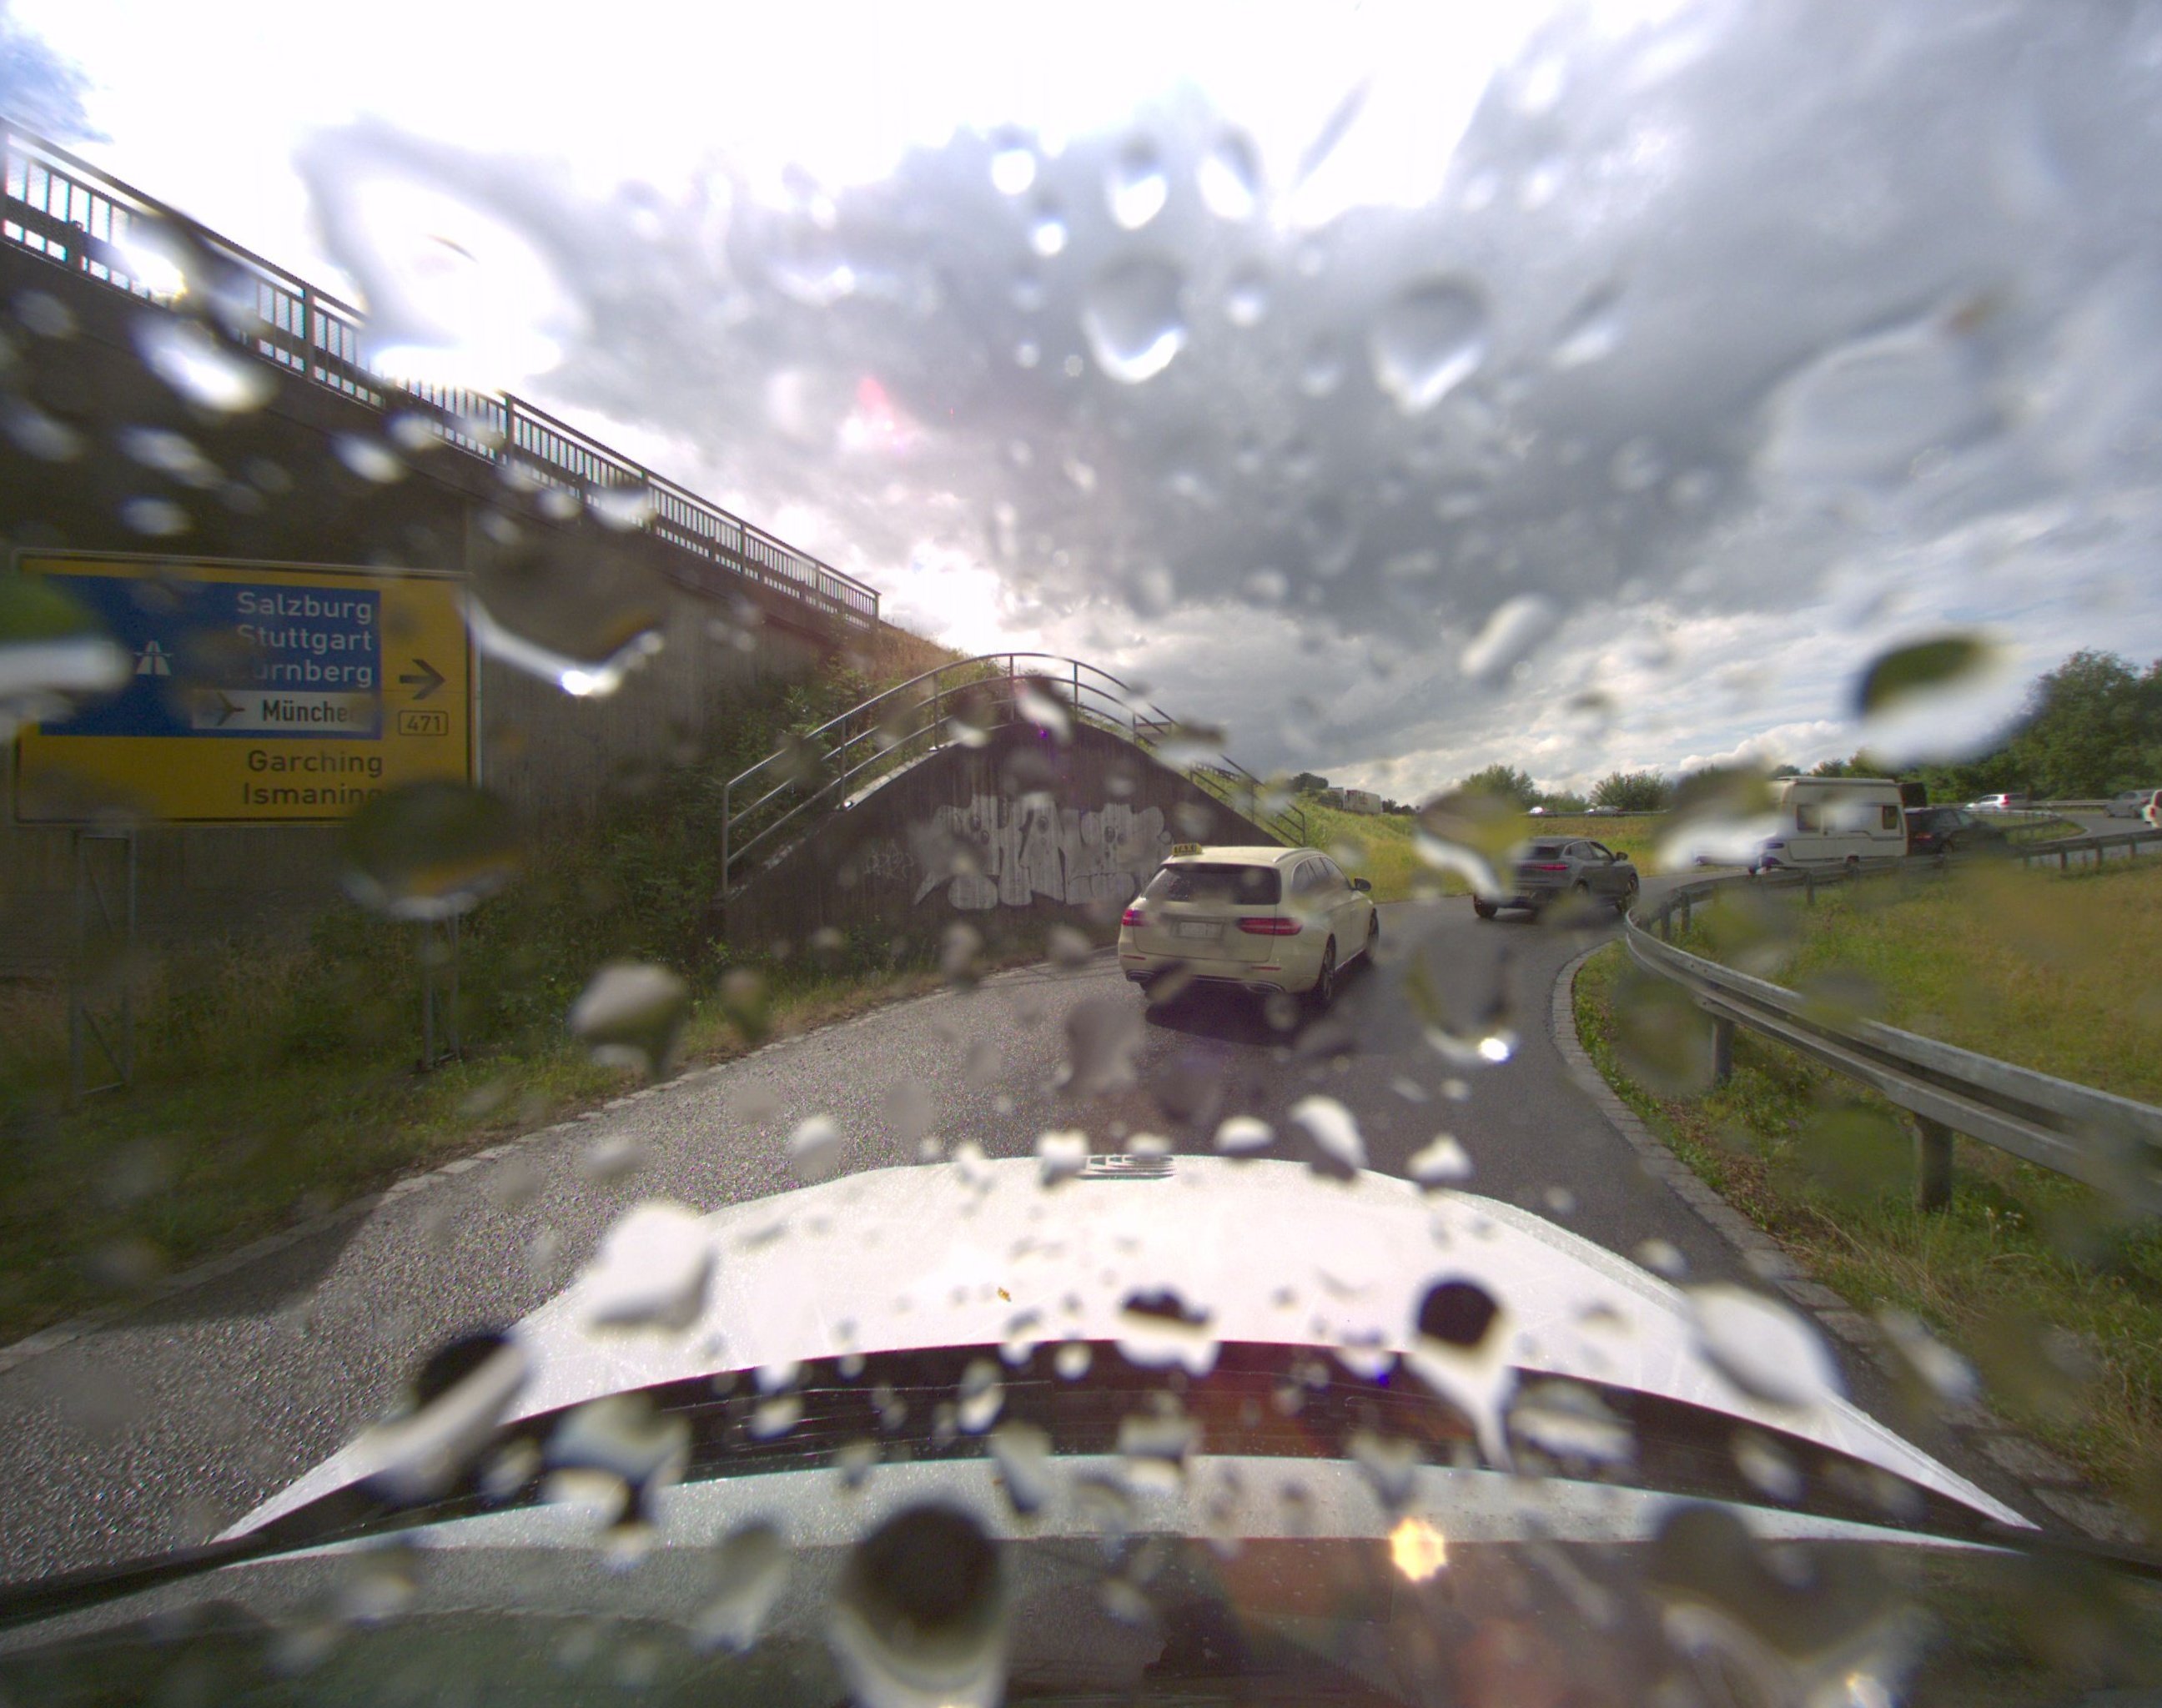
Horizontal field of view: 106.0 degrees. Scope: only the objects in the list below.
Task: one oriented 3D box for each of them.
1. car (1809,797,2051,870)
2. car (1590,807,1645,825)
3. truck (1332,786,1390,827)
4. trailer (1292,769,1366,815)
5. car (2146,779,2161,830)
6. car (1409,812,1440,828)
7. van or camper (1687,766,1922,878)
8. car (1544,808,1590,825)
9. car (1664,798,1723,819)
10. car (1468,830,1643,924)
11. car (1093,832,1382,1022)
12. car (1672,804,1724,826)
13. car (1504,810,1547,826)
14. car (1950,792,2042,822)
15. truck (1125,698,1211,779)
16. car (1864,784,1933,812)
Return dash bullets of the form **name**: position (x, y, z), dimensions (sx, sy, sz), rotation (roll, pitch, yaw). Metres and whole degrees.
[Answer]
- **car**: position (24.834, -0.630, 23.884), dimensions (5.749, 1.925, 2.425), rotation (-1, 1, -14)
- **car**: position (62.613, -4.434, 95.205), dimensions (2.004, 1.861, 5.013), rotation (-1, 0, -26)
- **truck**: position (41.402, -6.751, 119.533), dimensions (4.418, 4.503, 19.495), rotation (0, -1, 30)
- **trailer**: position (31.555, -7.467, 102.446), dimensions (4.371, 3.956, 20.342), rotation (0, -1, 30)
- **car**: position (42.650, -1.910, 30.862), dimensions (5.070, 1.861, 1.982), rotation (-1, 0, -28)
- **car**: position (48.372, -4.771, 114.659), dimensions (3.951, 2.014, 1.837), rotation (0, -1, 25)
- **van or camper**: position (19.630, -0.873, 22.093), dimensions (6.006, 2.729, 2.420), rotation (-2, 1, -23)
- **car**: position (60.446, -4.643, 101.270), dimensions (2.008, 1.861, 4.463), rotation (-1, 0, -34)
- **car**: position (65.809, -4.868, 87.603), dimensions (1.993, 1.861, 5.041), rotation (-1, 0, -9)
- **car**: position (9.034, 0.333, 15.364), dimensions (4.022, 1.524, 1.703), rotation (-2, 1, -42)
- **car**: position (2.010, 0.568, 8.948), dimensions (1.898, 1.507, 4.623), rotation (-1, 0, 27)
- **car**: position (65.717, -4.147, 86.816), dimensions (1.998, 2.014, 3.976), rotation (-1, -1, -17)
- **car**: position (59.507, -4.814, 109.104), dimensions (1.999, 1.861, 5.027), rotation (-1, 0, -18)
- **car**: position (64.938, -3.328, 57.949), dimensions (1.649, 1.784, 5.074), rotation (-2, 0, 12)
- **truck**: position (6.106, -7.563, 55.065), dimensions (3.152, 3.966, 9.287), rotation (0, -1, 23)
- **car**: position (66.778, -4.553, 66.629), dimensions (1.982, 2.014, 4.009), rotation (0, -1, 8)
